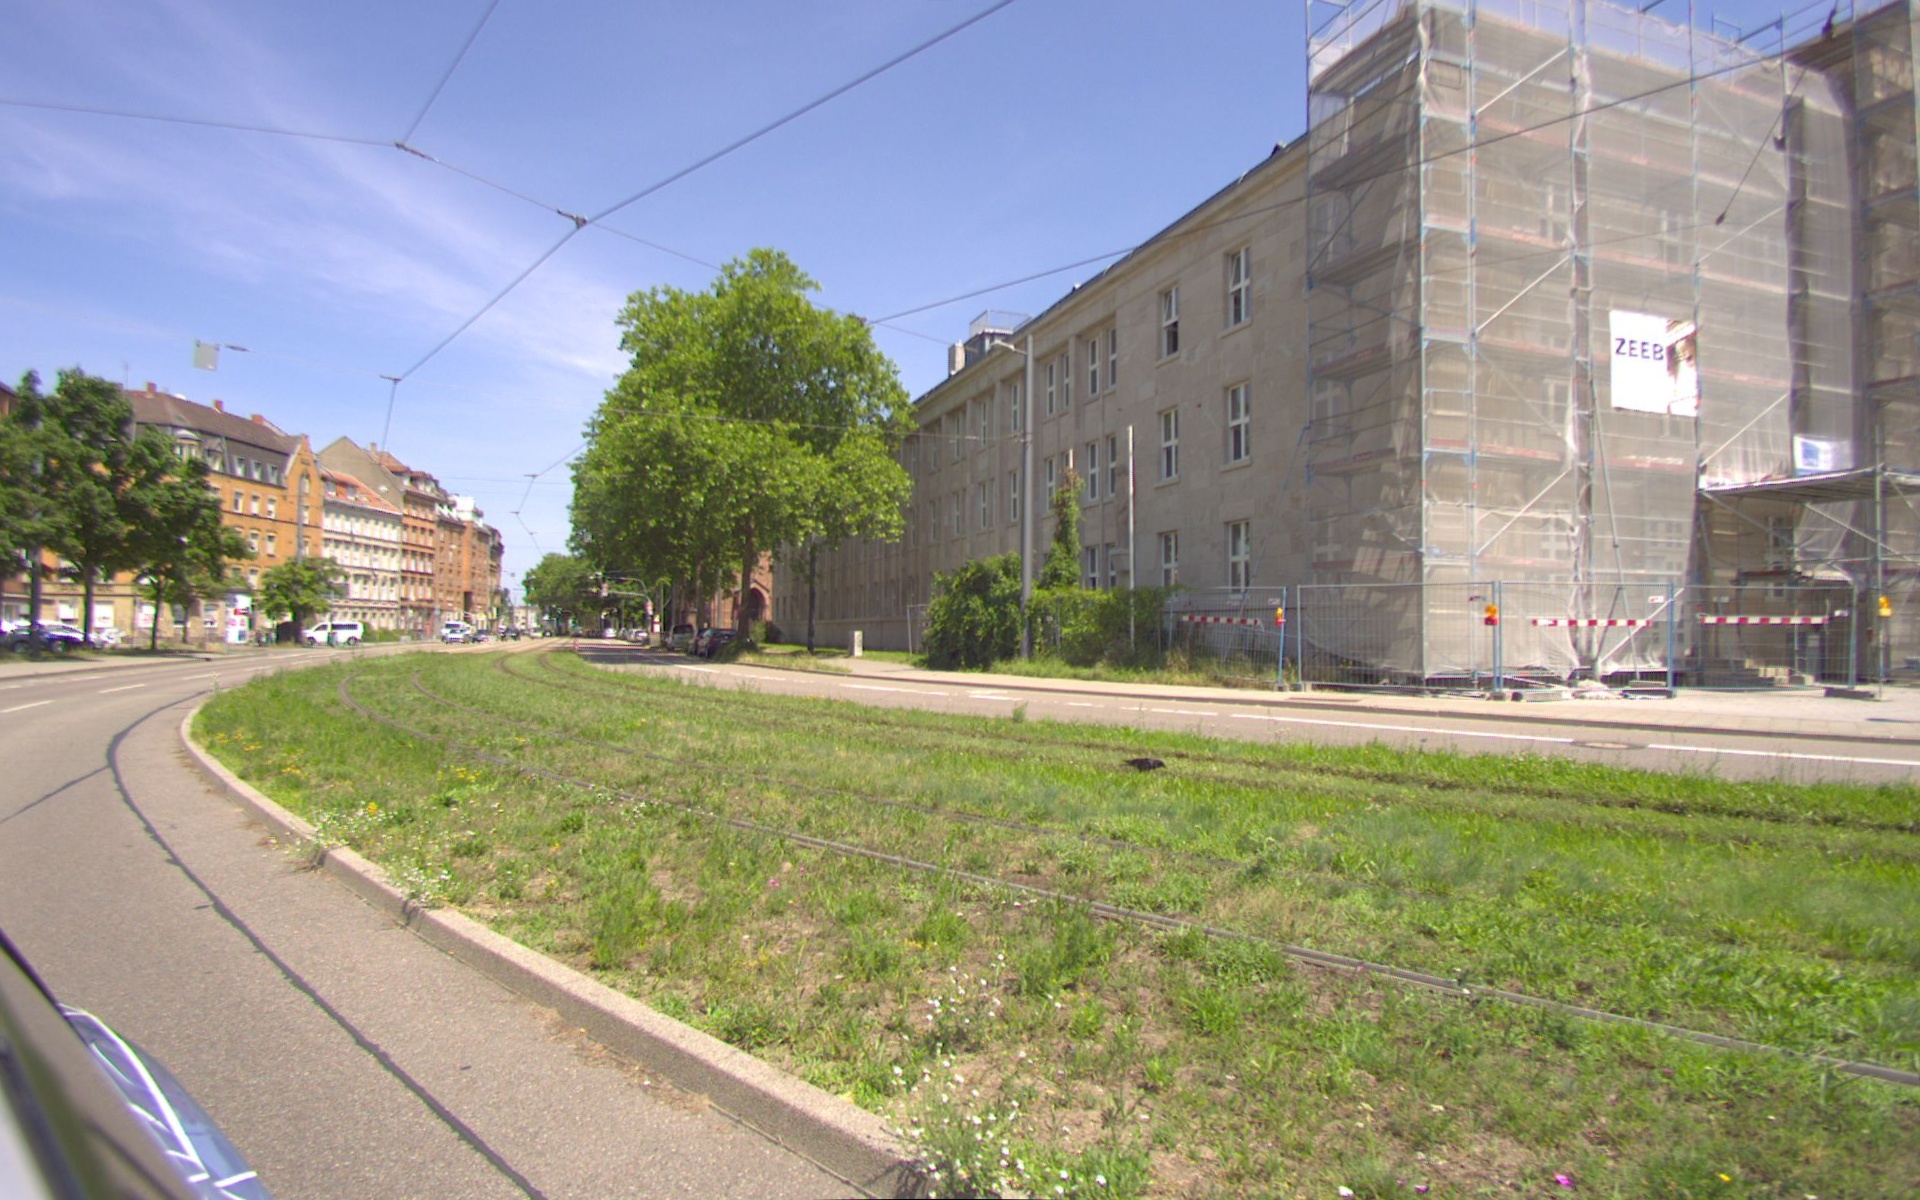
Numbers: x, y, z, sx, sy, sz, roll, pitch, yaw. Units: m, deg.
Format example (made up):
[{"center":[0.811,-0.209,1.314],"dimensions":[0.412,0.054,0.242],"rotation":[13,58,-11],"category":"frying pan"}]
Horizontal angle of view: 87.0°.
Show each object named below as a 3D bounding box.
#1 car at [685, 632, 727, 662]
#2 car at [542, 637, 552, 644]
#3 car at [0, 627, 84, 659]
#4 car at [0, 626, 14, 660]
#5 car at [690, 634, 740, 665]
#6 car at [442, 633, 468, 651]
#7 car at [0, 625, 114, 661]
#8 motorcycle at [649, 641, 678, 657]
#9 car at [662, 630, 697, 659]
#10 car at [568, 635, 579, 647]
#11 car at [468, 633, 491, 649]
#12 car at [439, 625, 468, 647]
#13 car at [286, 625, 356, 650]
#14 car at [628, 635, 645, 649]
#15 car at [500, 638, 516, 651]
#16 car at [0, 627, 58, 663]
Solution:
[{"center":[-13.769,2.512,54.699],"dimensions":[1.738,1.494,4.337],"rotation":[0,-2,-20],"category":"car"},{"center":[-87.007,8.554,213.194],"dimensions":[1.721,1.405,4.361],"rotation":[-2,-1,-24],"category":"car"},{"center":[-43.446,1.998,47.143],"dimensions":[3.938,1.410,1.826],"rotation":[0,-2,-42],"category":"car"},{"center":[-41.139,1.782,41.097],"dimensions":[3.938,1.397,1.826],"rotation":[0,-2,-42],"category":"car"},{"center":[-12.026,2.397,49.435],"dimensions":[1.565,1.434,4.337],"rotation":[0,-2,-24],"category":"car"},{"center":[-47.577,3.932,95.392],"dimensions":[1.770,1.586,4.012],"rotation":[0,-2,-20],"category":"car"},{"center":[-44.694,2.090,50.038],"dimensions":[4.345,1.644,2.002],"rotation":[0,-2,-43],"category":"car"},{"center":[-21.197,3.520,72.399],"dimensions":[0.726,1.076,1.848],"rotation":[-2,-1,38],"category":"motorcycle"},{"center":[-18.899,2.958,68.134],"dimensions":[1.965,1.825,4.314],"rotation":[0,-2,-19],"category":"car"},{"center":[-74.619,7.852,195.365],"dimensions":[1.791,2.314,3.774],"rotation":[0,-2,-23],"category":"car"},{"center":[-50.921,4.299,107.220],"dimensions":[1.770,1.586,4.012],"rotation":[0,-2,-20],"category":"car"},{"center":[-59.504,4.225,118.933],"dimensions":[1.966,2.348,5.423],"rotation":[3,-3,-16],"category":"car"},{"center":[-54.036,3.168,85.598],"dimensions":[4.776,1.953,2.171],"rotation":[0,-2,-38],"category":"car"},{"center":[-36.195,4.721,113.159],"dimensions":[1.635,1.470,4.234],"rotation":[0,-2,-21],"category":"car"},{"center":[-57.754,5.639,129.276],"dimensions":[1.770,1.586,4.013],"rotation":[0,-2,-22],"category":"car"},{"center":[-42.424,1.984,44.097],"dimensions":[4.565,1.508,1.966],"rotation":[1,-2,-45],"category":"car"}]
